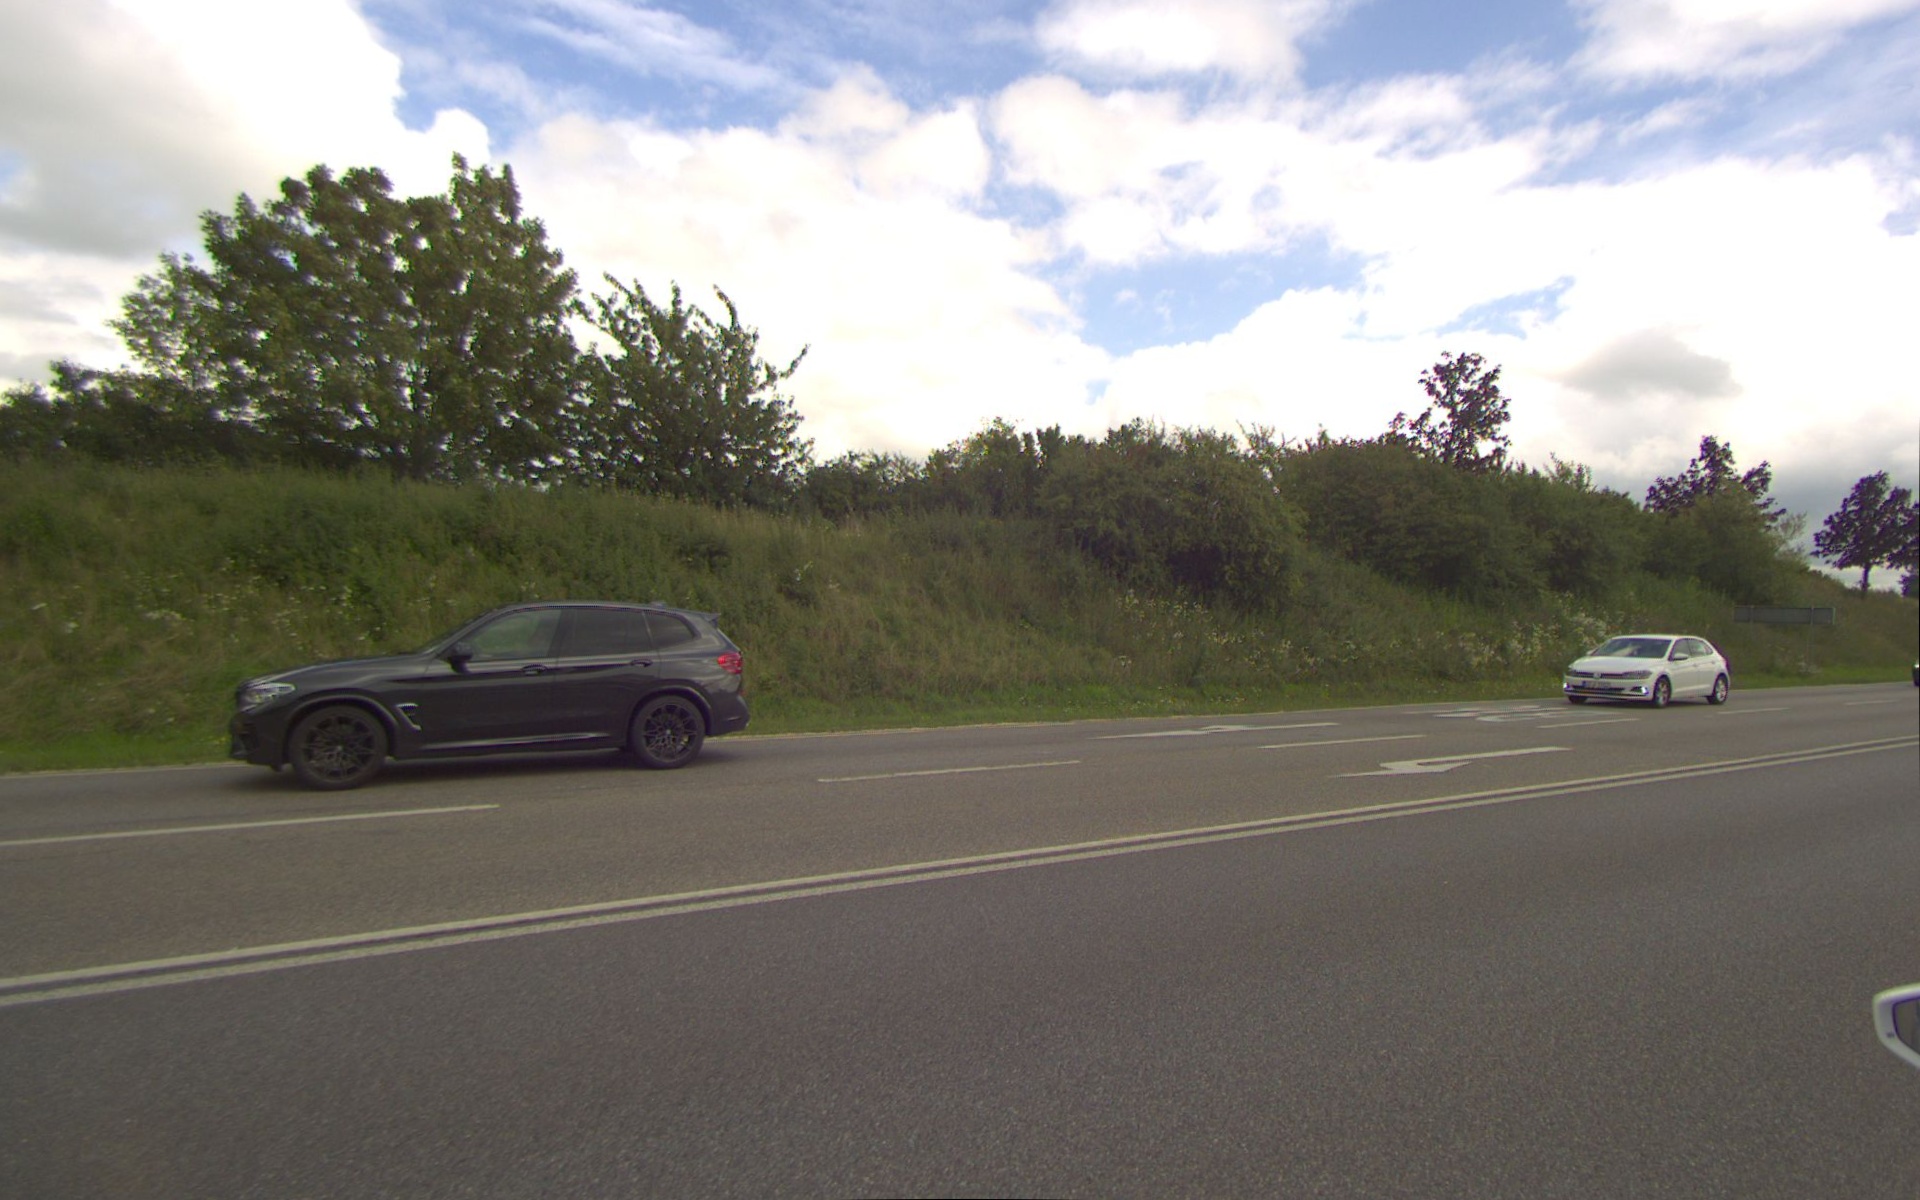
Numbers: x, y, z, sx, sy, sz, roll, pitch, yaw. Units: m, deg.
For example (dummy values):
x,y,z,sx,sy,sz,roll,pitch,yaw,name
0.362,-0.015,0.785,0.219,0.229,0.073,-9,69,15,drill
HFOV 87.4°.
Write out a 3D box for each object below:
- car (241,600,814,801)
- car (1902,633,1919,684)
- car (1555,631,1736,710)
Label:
x,y,z,sx,sy,sz,roll,pitch,yaw,name
-4.166,0.887,10.272,4.932,1.632,1.985,1,-1,-29,car
30.829,1.812,30.840,3.958,1.528,1.982,2,-1,-34,car
14.346,1.415,20.965,4.101,1.461,1.658,2,-1,-33,car
